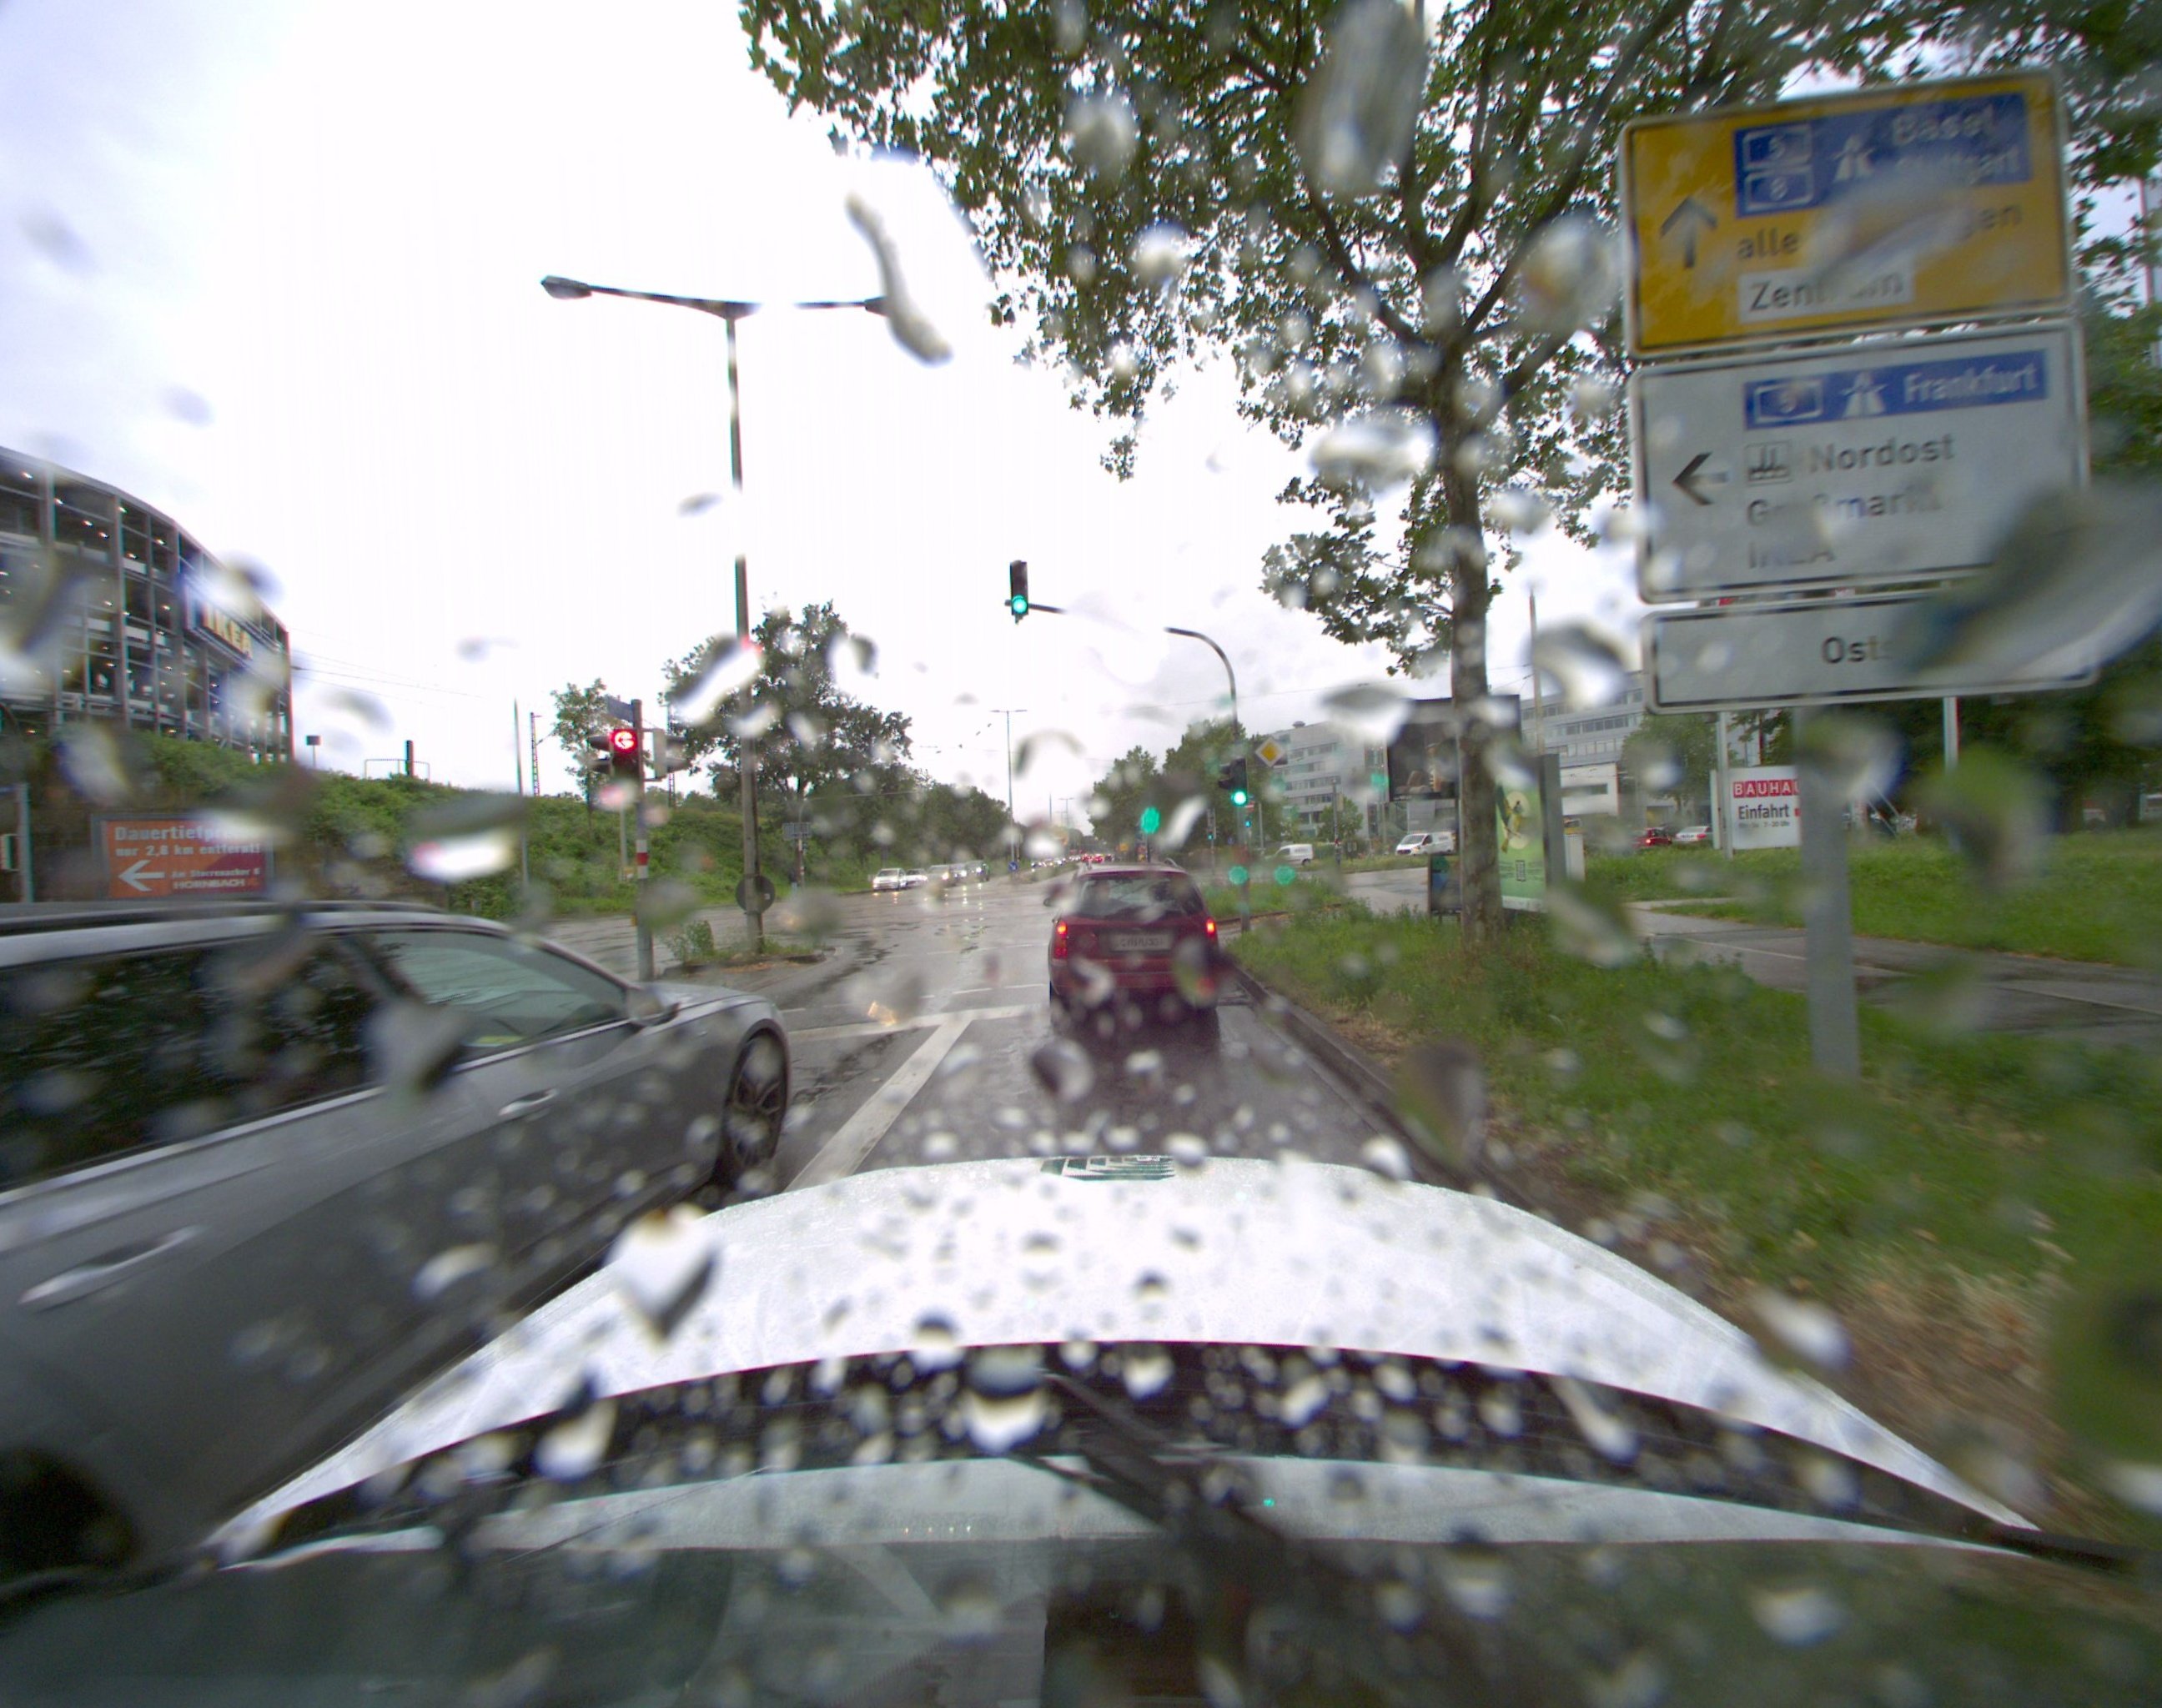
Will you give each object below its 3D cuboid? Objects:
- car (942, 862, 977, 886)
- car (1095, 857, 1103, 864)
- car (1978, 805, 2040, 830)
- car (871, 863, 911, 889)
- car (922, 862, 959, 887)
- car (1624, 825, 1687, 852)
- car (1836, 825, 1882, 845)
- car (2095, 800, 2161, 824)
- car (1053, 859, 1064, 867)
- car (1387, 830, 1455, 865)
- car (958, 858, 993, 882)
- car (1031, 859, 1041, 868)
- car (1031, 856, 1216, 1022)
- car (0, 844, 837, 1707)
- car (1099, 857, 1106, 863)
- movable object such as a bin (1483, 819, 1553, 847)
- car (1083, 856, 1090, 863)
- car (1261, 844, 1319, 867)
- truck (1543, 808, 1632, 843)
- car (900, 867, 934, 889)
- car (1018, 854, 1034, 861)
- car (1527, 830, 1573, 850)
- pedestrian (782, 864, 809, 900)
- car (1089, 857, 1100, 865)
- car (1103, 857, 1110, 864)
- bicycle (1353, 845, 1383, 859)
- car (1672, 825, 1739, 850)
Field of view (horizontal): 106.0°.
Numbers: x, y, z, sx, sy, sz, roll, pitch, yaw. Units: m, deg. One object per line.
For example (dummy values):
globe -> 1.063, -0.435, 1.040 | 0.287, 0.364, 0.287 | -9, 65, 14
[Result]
car -> -9.032, 1.468, 60.919 | 1.757, 1.586, 4.812 | -3, -1, 0
car -> 4.257, 1.569, 191.478 | 1.691, 1.528, 3.848 | -3, 0, 3
car -> 60.481, -2.373, 53.046 | 4.847, 1.491, 1.907 | -2, -1, -33
car -> -12.242, 1.399, 52.686 | 1.633, 1.452, 3.786 | -3, 0, -1
car -> -9.211, 1.303, 53.699 | 1.632, 1.473, 3.965 | -3, 0, 1
car -> 34.498, -0.937, 48.885 | 3.828, 1.491, 1.662 | -1, -1, -30
car -> 67.176, -1.627, 70.262 | 4.645, 1.586, 1.906 | -2, -1, -35
car -> 88.229, -3.540, 66.893 | 2.287, 1.731, 5.899 | -3, -1, -33
car -> -4.946, 1.951, 180.380 | 1.956, 1.702, 4.285 | -3, 0, 1
car -> 23.151, -0.463, 55.408 | 4.709, 2.125, 1.978 | -2, -1, -36
car -> -8.892, 1.306, 68.942 | 2.058, 1.819, 5.541 | -3, 0, 1
car -> -8.909, 1.786, 160.987 | 1.738, 1.702, 4.284 | 0, 0, 1
car -> 0.406, 0.765, 9.153 | 1.636, 1.465, 3.732 | -1, 0, 1
car -> -2.370, 0.785, 2.432 | 1.763, 1.574, 4.821 | -1, 0, 1
car -> 5.932, 1.764, 227.796 | 1.662, 1.528, 3.852 | -3, 0, 6
movable object such as a bin -> 53.348, -2.499, 99.615 | 3.342, 2.996, 6.649 | -3, 0, -34
car -> 1.360, 1.348, 200.165 | 1.691, 1.528, 3.849 | -3, 0, 3
car -> 16.319, 0.105, 63.778 | 4.204, 1.726, 1.746 | -1, 0, 9
truck -> 57.570, -3.211, 92.853 | 3.342, 3.507, 7.806 | -3, 0, -34
car -> -11.856, 1.699, 59.065 | 1.585, 1.404, 3.823 | -3, 0, 0
car -> -16.392, 1.038, 241.308 | 4.301, 1.597, 1.948 | -3, 0, -34
car -> 41.829, -1.255, 72.539 | 4.400, 1.621, 1.757 | -3, -1, -34
pedestrian -> -15.179, 1.467, 43.389 | 1.102, 1.847, 1.126 | -3, -1, -10
car -> 3.093, 1.548, 183.915 | 2.138, 1.528, 4.196 | -3, 0, 4
car -> 6.643, 1.659, 211.669 | 1.664, 1.528, 3.848 | -3, 0, 3
bicycle -> 24.036, -0.171, 68.291 | 2.286, 1.046, 0.853 | -3, -1, 21
car -> 41.349, -1.104, 53.909 | 4.847, 1.491, 1.907 | -2, -1, -33
